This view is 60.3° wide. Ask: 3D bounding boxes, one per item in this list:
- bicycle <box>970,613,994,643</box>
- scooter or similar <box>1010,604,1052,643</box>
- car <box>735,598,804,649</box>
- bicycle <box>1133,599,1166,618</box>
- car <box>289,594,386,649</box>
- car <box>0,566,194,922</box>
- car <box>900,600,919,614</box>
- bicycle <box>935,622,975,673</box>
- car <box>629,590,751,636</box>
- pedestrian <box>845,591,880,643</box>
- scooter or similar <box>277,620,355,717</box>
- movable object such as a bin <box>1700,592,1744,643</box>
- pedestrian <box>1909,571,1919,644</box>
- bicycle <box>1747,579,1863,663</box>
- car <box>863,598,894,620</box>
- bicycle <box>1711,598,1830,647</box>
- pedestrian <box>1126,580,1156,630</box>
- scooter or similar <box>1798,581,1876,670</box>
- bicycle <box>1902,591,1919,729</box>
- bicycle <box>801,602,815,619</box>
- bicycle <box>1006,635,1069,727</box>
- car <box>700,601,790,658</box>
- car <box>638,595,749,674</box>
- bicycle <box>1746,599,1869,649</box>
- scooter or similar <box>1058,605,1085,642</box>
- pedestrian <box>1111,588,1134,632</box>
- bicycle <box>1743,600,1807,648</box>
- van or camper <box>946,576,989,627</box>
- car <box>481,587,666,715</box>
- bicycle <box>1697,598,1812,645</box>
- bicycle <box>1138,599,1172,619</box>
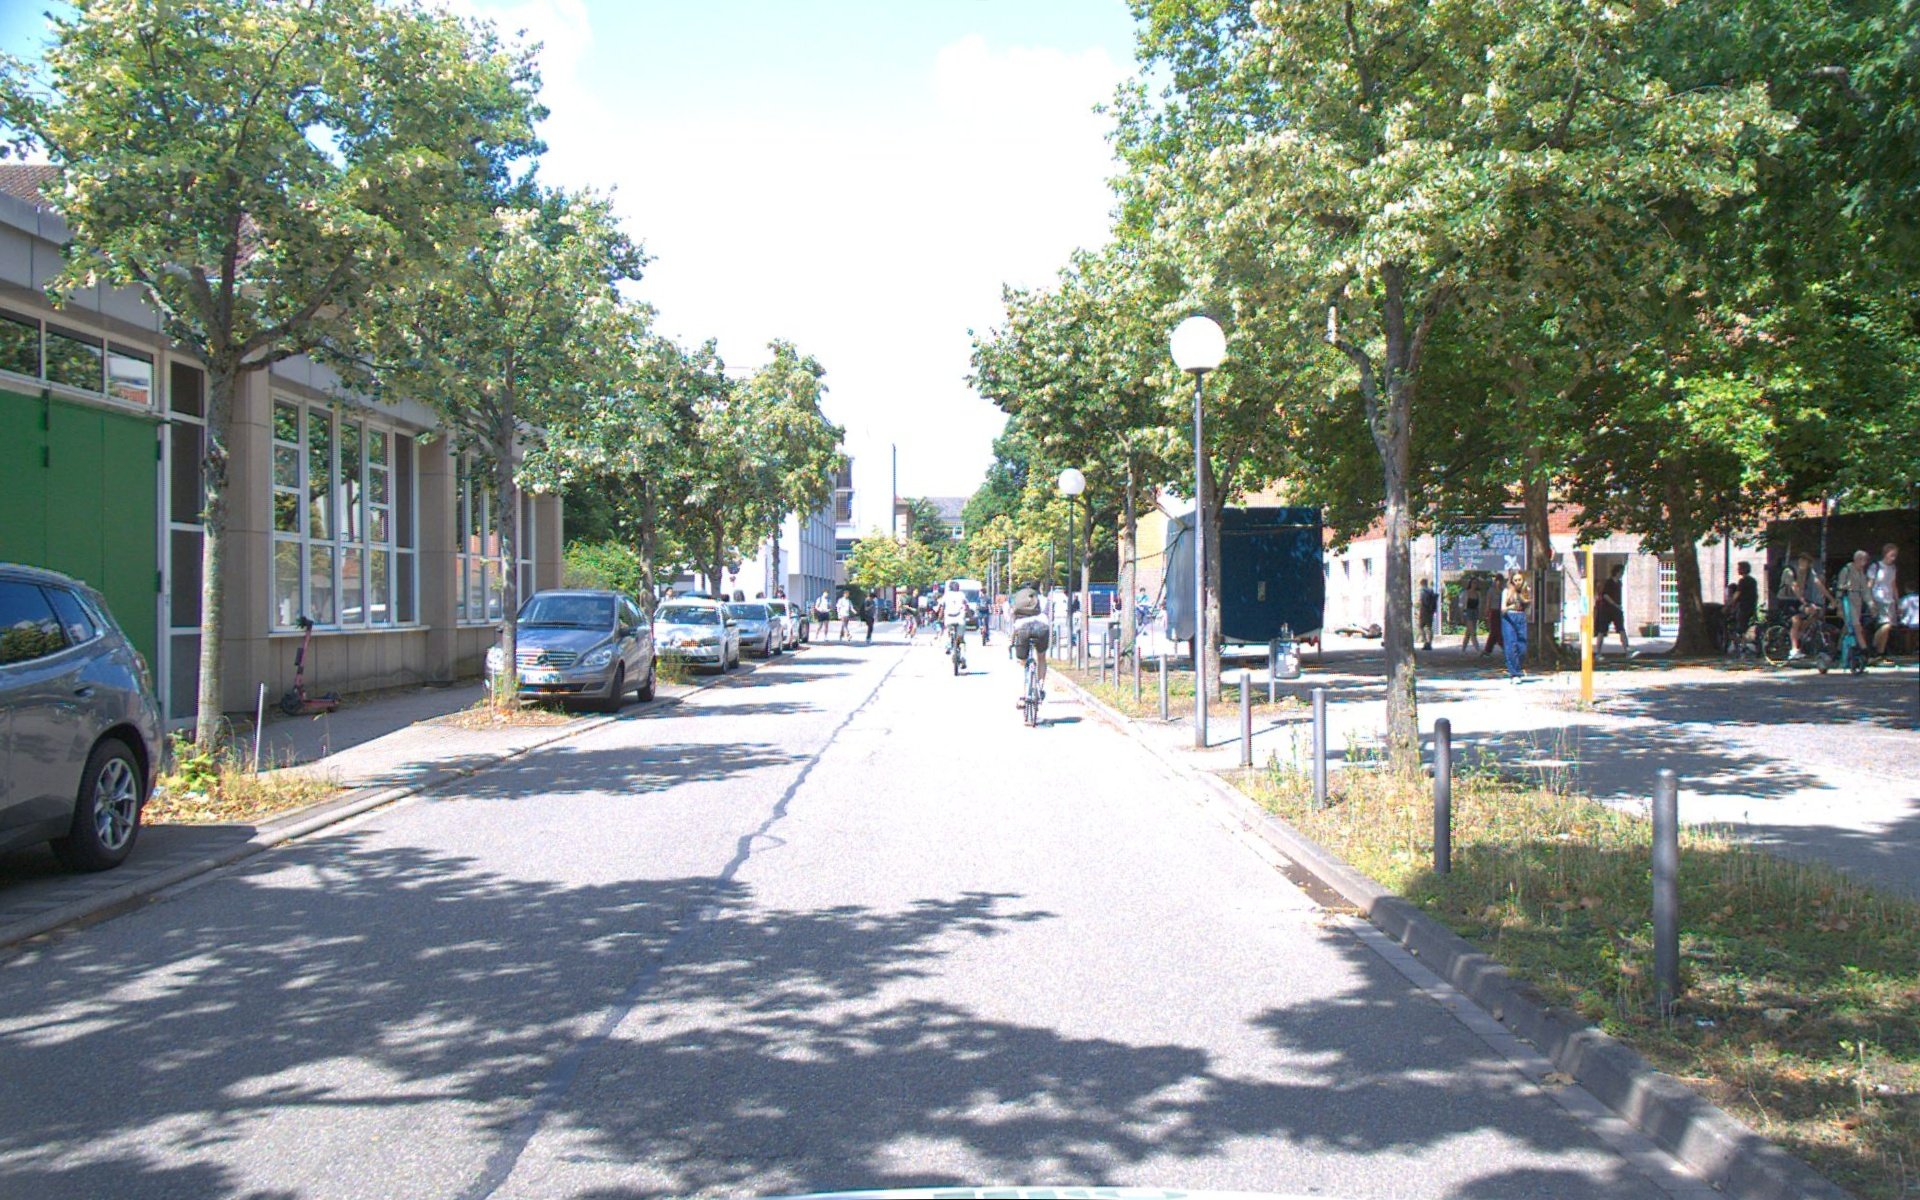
[{"bbox_3d":[0.745,0.953,56.495,0.792,1.020,2.123,0,-1,0],"label":"bicycle"},{"bbox_3d":[2.401,0.795,55.676,1.237,1.287,0.649,-1,0,32],"label":"scooter or similar"},{"bbox_3d":[-5.605,0.661,49.096,1.628,1.436,3.806,1,0,-1],"label":"car"},{"bbox_3d":[10.779,0.497,93.975,1.772,1.002,0.560,-2,0,-1],"label":"bicycle"},{"bbox_3d":[-23.154,0.757,61.725,1.889,1.799,4.440,-4,1,-1],"label":"car"},{"bbox_3d":[-5.349,0.650,7.521,1.785,1.661,4.514,1,0,-3],"label":"car"},{"bbox_3d":[-5.729,0.768,187.153,1.758,1.557,4.002,-1,0,3],"label":"car"},{"bbox_3d":[-0.098,0.956,33.892,0.792,1.020,2.123,0,-1,0],"label":"bicycle"},{"bbox_3d":[-10.737,0.541,65.933,4.412,1.647,1.924,2,-1,2],"label":"car"},{"bbox_3d":[-3.344,0.602,56.650,0.970,1.750,0.703,0,-3,23],"label":"pedestrian"},{"bbox_3d":[-8.226,0.856,21.164,0.495,1.189,1.215,1,0,0],"label":"scooter or similar"},{"bbox_3d":[16.462,0.389,35.746,0.587,1.090,0.742,-1,-2,0],"label":"movable object such as a bin"},{"bbox_3d":[18.431,0.131,31.189,0.558,1.370,0.728,-4,1,-5],"label":"pedestrian"},{"bbox_3d":[13.472,0.330,26.420,0.522,1.274,1.727,-2,0,-20],"label":"bicycle"},{"bbox_3d":[-5.925,0.627,120.692,1.758,1.557,4.002,-1,0,3],"label":"car"},{"bbox_3d":[18.828,0.530,38.468,2.345,1.090,0.783,-1,-1,6],"label":"bicycle"},{"bbox_3d":[6.978,0.182,63.728,0.701,1.817,0.745,-7,5,-30],"label":"pedestrian"},{"bbox_3d":[12.725,0.366,24.021,0.415,1.240,1.294,-1,-1,0],"label":"scooter or similar"},{"bbox_3d":[9.262,0.499,14.339,1.979,1.187,0.650,-1,0,-13],"label":"bicycle"},{"bbox_3d":[-9.057,0.631,98.583,0.512,1.002,1.633,-2,0,4],"label":"bicycle"},{"bbox_3d":[0.913,0.945,19.848,0.692,1.010,1.911,-2,0,1],"label":"bicycle"},{"bbox_3d":[-5.522,0.731,42.958,1.689,1.367,4.166,1,0,1],"label":"car"},{"bbox_3d":[-5.465,0.679,34.365,1.690,1.482,4.581,1,0,-2],"label":"car"},{"bbox_3d":[19.091,0.540,37.315,2.345,1.090,0.783,0,-1,12],"label":"bicycle"},{"bbox_3d":[3.706,0.778,54.963,0.635,1.180,1.265,-1,0,15],"label":"scooter or similar"},{"bbox_3d":[6.205,0.381,63.255,0.496,1.658,0.565,-7,3,-30],"label":"pedestrian"},{"bbox_3d":[20.223,0.581,41.077,0.562,1.160,2.026,0,0,-1],"label":"bicycle"},{"bbox_3d":[0.427,0.115,83.815,1.952,2.488,4.571,-1,-1,2],"label":"van or camper"},{"bbox_3d":[-5.278,0.659,23.073,1.722,1.583,4.111,1,0,-2],"label":"car"},{"bbox_3d":[18.899,0.510,39.383,2.345,1.090,0.783,-1,-1,13],"label":"bicycle"},{"bbox_3d":[10.898,0.500,92.442,1.772,1.002,0.560,-2,0,-1],"label":"bicycle"}]
